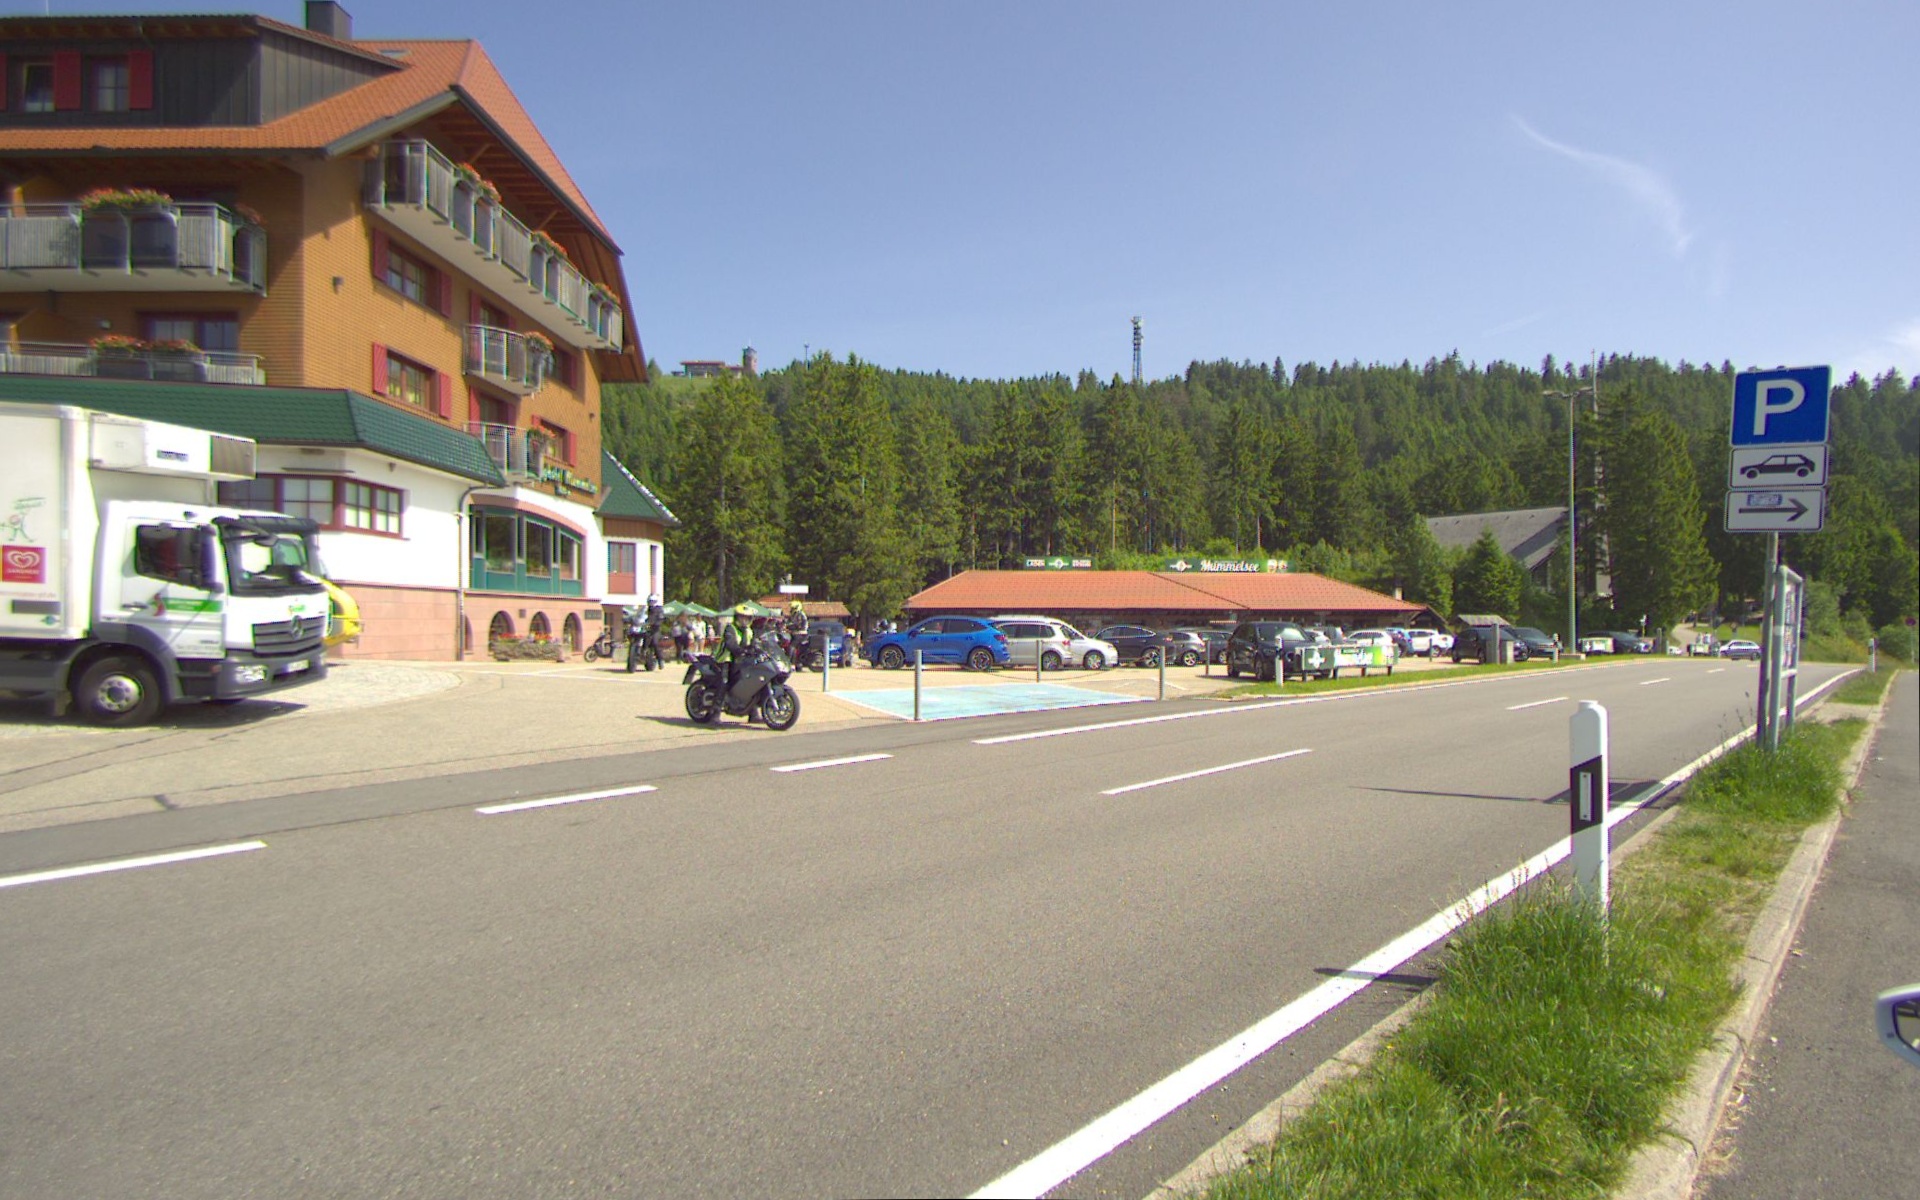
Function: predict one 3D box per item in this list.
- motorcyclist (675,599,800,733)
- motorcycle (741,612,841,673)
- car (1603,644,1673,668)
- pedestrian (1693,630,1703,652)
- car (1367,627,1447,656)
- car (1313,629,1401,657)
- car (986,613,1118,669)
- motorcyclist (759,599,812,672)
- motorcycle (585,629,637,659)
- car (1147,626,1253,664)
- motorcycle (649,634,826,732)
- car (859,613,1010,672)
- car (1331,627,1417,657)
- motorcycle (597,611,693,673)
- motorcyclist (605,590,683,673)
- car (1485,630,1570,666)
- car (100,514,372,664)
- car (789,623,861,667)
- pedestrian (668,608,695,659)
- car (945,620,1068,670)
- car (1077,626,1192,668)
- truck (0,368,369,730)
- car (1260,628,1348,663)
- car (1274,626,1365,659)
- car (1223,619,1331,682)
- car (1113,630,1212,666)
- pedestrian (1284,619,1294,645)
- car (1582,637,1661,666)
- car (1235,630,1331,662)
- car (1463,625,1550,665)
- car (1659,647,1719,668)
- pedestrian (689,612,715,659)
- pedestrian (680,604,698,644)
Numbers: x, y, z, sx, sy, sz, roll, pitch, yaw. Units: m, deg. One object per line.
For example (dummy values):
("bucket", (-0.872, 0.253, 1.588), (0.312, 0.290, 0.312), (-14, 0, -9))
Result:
("motorcyclist", (-2.999, 0.855, 13.609), (1.267, 1.697, 1.029), (1, 0, 19))
("motorcycle", (-4.278, 1.076, 25.576), (2.401, 1.425, 1.004), (3, -1, -10))
("car", (43.826, 3.613, 65.035), (1.710, 1.460, 3.970), (0, -2, -2))
("pedestrian", (61.234, 3.402, 83.344), (0.644, 1.823, 0.640), (0, 0, 38))
("car", (26.696, 2.472, 60.057), (3.952, 1.694, 1.777), (0, -3, -2))
("car", (20.958, 2.269, 53.133), (3.921, 1.439, 1.908), (0, -2, 0))
("car", (3.152, 1.416, 35.026), (4.440, 1.888, 1.836), (-1, -1, 2))
("motorcyclist", (-4.426, 0.894, 25.548), (1.226, 1.742, 1.063), (3, -1, -10))
("motorcycle", (-13.109, 1.661, 37.778), (1.758, 0.999, 0.480), (3, 4, -9))
("car", (9.976, 1.866, 41.969), (3.999, 1.505, 1.716), (0, -1, -1))
("motorcycle", (-3.047, 1.106, 13.778), (2.241, 1.192, 0.825), (1, 0, 19))
("car", (-0.767, 1.286, 30.760), (4.456, 1.686, 1.940), (1, -1, -1))
("car", (22.824, 2.306, 55.462), (3.921, 1.594, 2.000), (0, -2, 0))
("motorcycle", (-7.015, 0.923, 22.525), (0.861, 1.273, 2.278), (3, -1, 16))
("motorcyclist", (-7.035, 0.706, 22.442), (0.907, 1.740, 1.453), (3, -1, 16))
("car", (26.529, 2.215, 47.084), (1.706, 1.588, 4.060), (1, -1, 0))
("car", (-13.730, -0.081, 19.198), (3.968, 2.528, 1.977), (4, -3, -40))
("car", (-4.268, 1.407, 32.227), (1.679, 1.314, 4.001), (-1, -1, 1))
("pedestrian", (-9.059, 1.085, 32.666), (0.613, 1.654, 0.703), (-1, -1, 7))
("car", (1.498, 1.468, 32.993), (3.920, 1.566, 2.000), (-1, -1, 1))
("car", (6.428, 1.724, 37.301), (3.922, 1.449, 1.914), (0, -1, -1))
("truck", (-12.756, -0.699, 12.559), (8.612, 4.025, 3.065), (2, 1, -9))
("car", (16.622, 2.190, 48.700), (3.659, 1.609, 1.735), (0, -1, 0))
("car", (18.234, 2.140, 51.034), (3.921, 1.565, 1.900), (-1, -1, 1))
("car", (8.533, 1.322, 27.371), (1.771, 1.560, 4.194), (-1, -1, 3))
("car", (7.958, 1.869, 39.681), (3.569, 1.339, 1.587), (0, -1, -3))
("pedestrian", (24.458, 2.374, 74.682), (0.518, 1.898, 0.547), (1, -1, -2))
("car", (40.006, 3.084, 60.845), (1.755, 1.655, 4.208), (2, -2, -6))
("car", (14.896, 2.116, 46.503), (3.919, 1.389, 1.813), (-1, -1, 7))
("car", (22.722, 1.855, 41.922), (1.747, 1.572, 4.002), (0, -1, 5))
("car", (53.915, 4.217, 74.306), (3.306, 1.447, 1.585), (0, -1, -3))
("pedestrian", (-8.392, 1.152, 32.698), (0.613, 1.509, 0.703), (-1, -1, 7))
("pedestrian", (-15.880, 1.401, 58.870), (0.806, 2.314, 0.726), (-3, 0, -29))
